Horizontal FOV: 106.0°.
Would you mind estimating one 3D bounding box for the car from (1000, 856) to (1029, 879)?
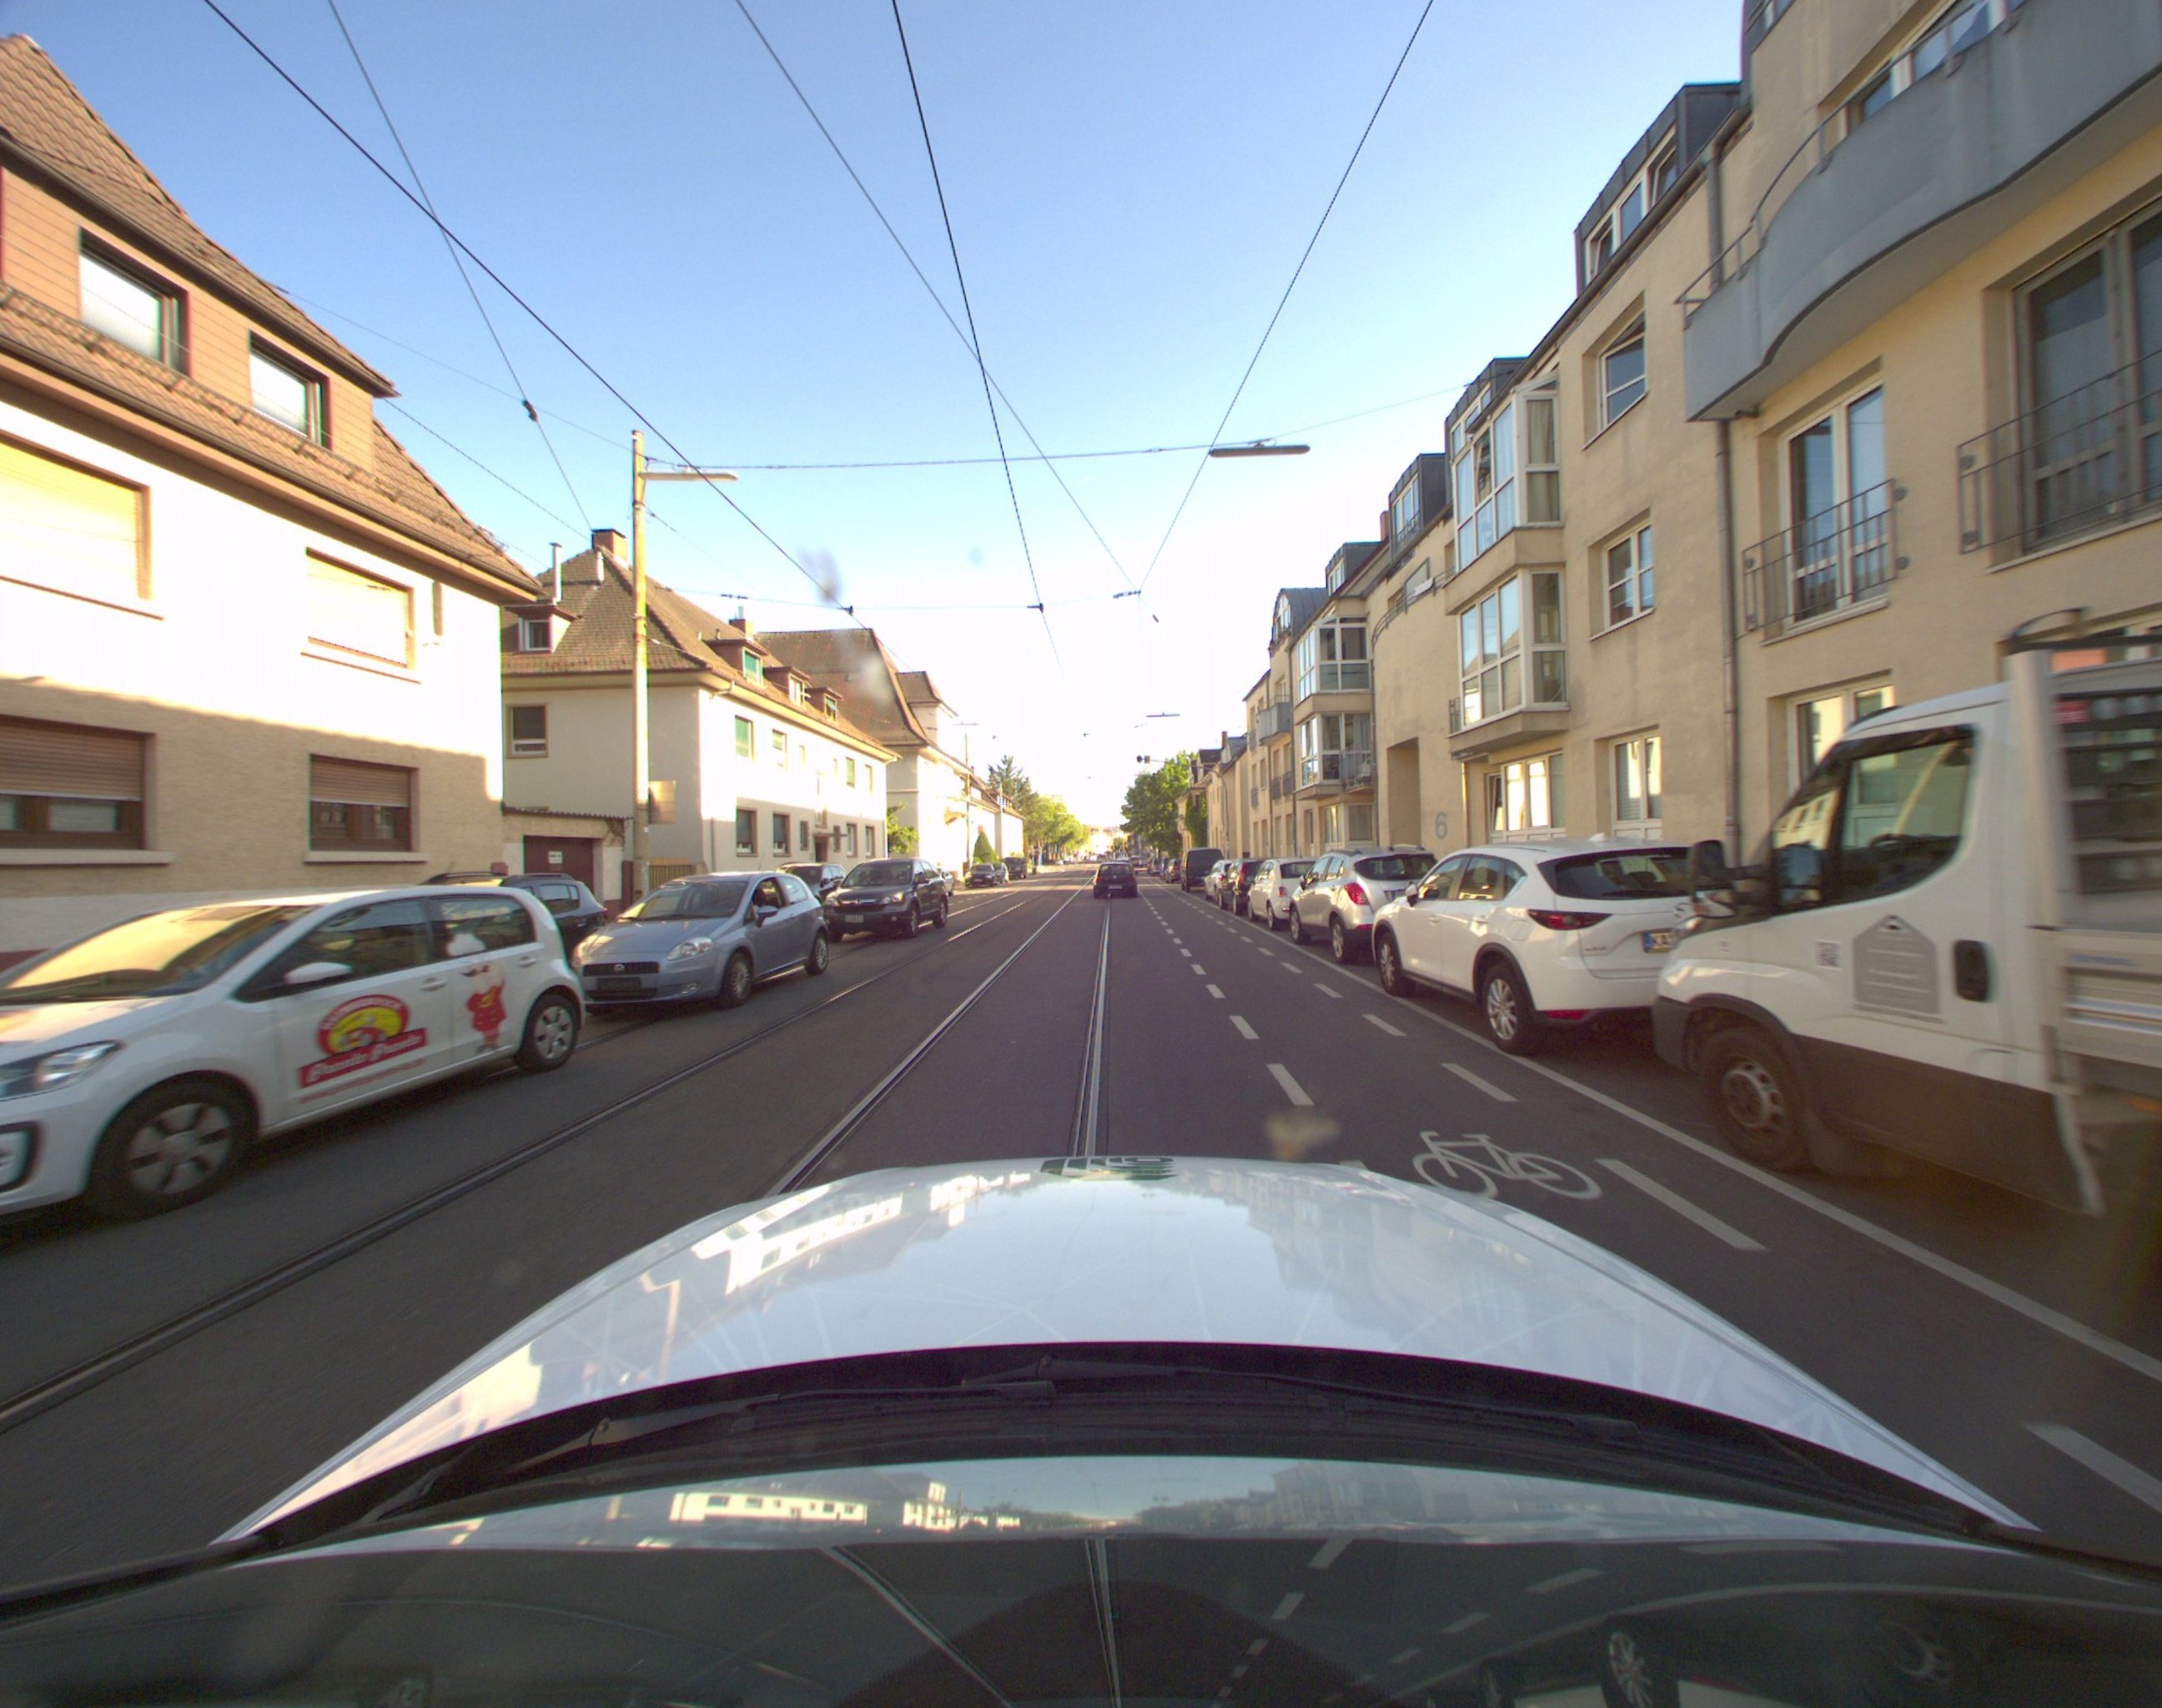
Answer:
[{"bbox_3d":[-5.925,1.194,72.938,1.898,2.014,4.953,1,0,3],"label":"car"}]

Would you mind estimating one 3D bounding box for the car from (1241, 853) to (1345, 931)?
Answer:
[{"bbox_3d":[4.584,0.776,18.032,1.491,1.557,3.365,1,0,1],"label":"car"}]

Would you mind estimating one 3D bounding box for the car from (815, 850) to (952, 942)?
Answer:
[{"bbox_3d":[-4.136,0.822,17.785,1.697,1.705,4.366,-2,-1,2],"label":"car"}]

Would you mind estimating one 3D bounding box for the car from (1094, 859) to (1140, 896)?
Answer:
[{"bbox_3d":[1.444,0.909,32.612,1.709,1.402,4.008,0,0,2],"label":"car"}]

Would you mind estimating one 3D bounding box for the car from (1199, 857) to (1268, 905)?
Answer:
[{"bbox_3d":[5.141,0.869,27.853,1.671,1.491,4.174,1,0,1],"label":"car"}]

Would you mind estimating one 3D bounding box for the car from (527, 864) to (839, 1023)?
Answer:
[{"bbox_3d":[-4.463,0.887,9.916,1.611,1.461,4.077,-2,-1,2],"label":"car"}]

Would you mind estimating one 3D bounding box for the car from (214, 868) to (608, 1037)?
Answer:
[{"bbox_3d":[-8.001,1.040,10.292,1.609,1.628,3.922,-2,-1,1],"label":"car"}]

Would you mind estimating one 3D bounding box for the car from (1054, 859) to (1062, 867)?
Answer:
[{"bbox_3d":[-4.774,1.844,167.227,1.572,1.477,3.436,-2,0,-4],"label":"car"}]

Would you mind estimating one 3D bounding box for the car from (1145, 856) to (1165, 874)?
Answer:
[{"bbox_3d":[6.853,1.014,75.670,1.659,1.564,3.772,0,-1,2],"label":"car"}]

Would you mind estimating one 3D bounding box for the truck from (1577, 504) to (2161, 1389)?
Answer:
[{"bbox_3d":[4.151,0.245,2.002,2.286,2.477,6.150,-1,0,2],"label":"truck"}]

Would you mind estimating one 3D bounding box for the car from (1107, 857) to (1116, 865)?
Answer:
[{"bbox_3d":[6.842,1.531,181.369,1.781,1.860,4.000,1,0,1],"label":"car"}]

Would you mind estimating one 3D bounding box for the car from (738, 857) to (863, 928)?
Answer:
[{"bbox_3d":[-7.672,0.986,22.777,1.755,1.705,4.556,-2,-1,1],"label":"car"}]

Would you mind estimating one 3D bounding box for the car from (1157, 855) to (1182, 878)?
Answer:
[{"bbox_3d":[6.379,0.886,58.634,1.452,1.599,3.294,1,0,0],"label":"car"}]

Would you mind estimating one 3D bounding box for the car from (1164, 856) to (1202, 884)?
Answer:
[{"bbox_3d":[6.044,0.924,48.789,1.738,1.599,4.433,1,0,0],"label":"car"}]

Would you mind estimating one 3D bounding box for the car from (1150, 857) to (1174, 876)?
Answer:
[{"bbox_3d":[6.652,0.979,67.023,1.596,1.525,3.549,1,0,0],"label":"car"}]

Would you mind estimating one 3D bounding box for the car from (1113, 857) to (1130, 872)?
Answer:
[{"bbox_3d":[4.253,1.081,86.049,1.733,1.441,3.811,-1,0,2],"label":"car"}]

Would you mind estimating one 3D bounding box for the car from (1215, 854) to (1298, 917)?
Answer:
[{"bbox_3d":[4.709,0.794,22.241,1.548,1.557,3.653,1,0,1],"label":"car"}]

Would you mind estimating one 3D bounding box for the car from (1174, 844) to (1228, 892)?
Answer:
[{"bbox_3d":[5.382,0.606,37.002,1.899,1.987,4.564,1,0,1],"label":"car"}]

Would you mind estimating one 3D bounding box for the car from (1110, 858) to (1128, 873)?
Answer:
[{"bbox_3d":[3.633,1.068,77.392,1.628,1.372,3.760,-1,0,3],"label":"car"}]

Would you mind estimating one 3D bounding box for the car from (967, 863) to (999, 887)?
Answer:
[{"bbox_3d":[-6.255,1.317,52.261,1.658,1.477,4.247,-1,0,-2],"label":"car"}]

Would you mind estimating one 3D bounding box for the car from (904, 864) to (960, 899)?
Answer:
[{"bbox_3d":[-6.870,1.251,37.853,1.625,1.457,4.018,-2,-1,2],"label":"car"}]

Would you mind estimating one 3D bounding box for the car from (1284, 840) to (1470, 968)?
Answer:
[{"bbox_3d":[4.466,0.676,12.916,1.596,1.700,3.990,1,0,1],"label":"car"}]

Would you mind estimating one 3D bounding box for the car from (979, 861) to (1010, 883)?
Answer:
[{"bbox_3d":[-6.222,1.266,59.020,1.670,1.477,3.837,1,0,2],"label":"car"}]

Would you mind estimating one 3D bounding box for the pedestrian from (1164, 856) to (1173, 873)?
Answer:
[{"bbox_3d":[8.669,1.036,80.945,0.715,1.688,0.870,-2,-1,1],"label":"pedestrian"}]

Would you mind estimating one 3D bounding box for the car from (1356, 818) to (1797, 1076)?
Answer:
[{"bbox_3d":[4.112,0.645,7.710,1.732,1.746,4.258,1,0,2],"label":"car"}]

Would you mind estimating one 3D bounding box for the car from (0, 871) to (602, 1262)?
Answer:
[{"bbox_3d":[-4.876,0.891,4.951,1.576,1.461,3.616,-2,-1,3],"label":"car"}]
